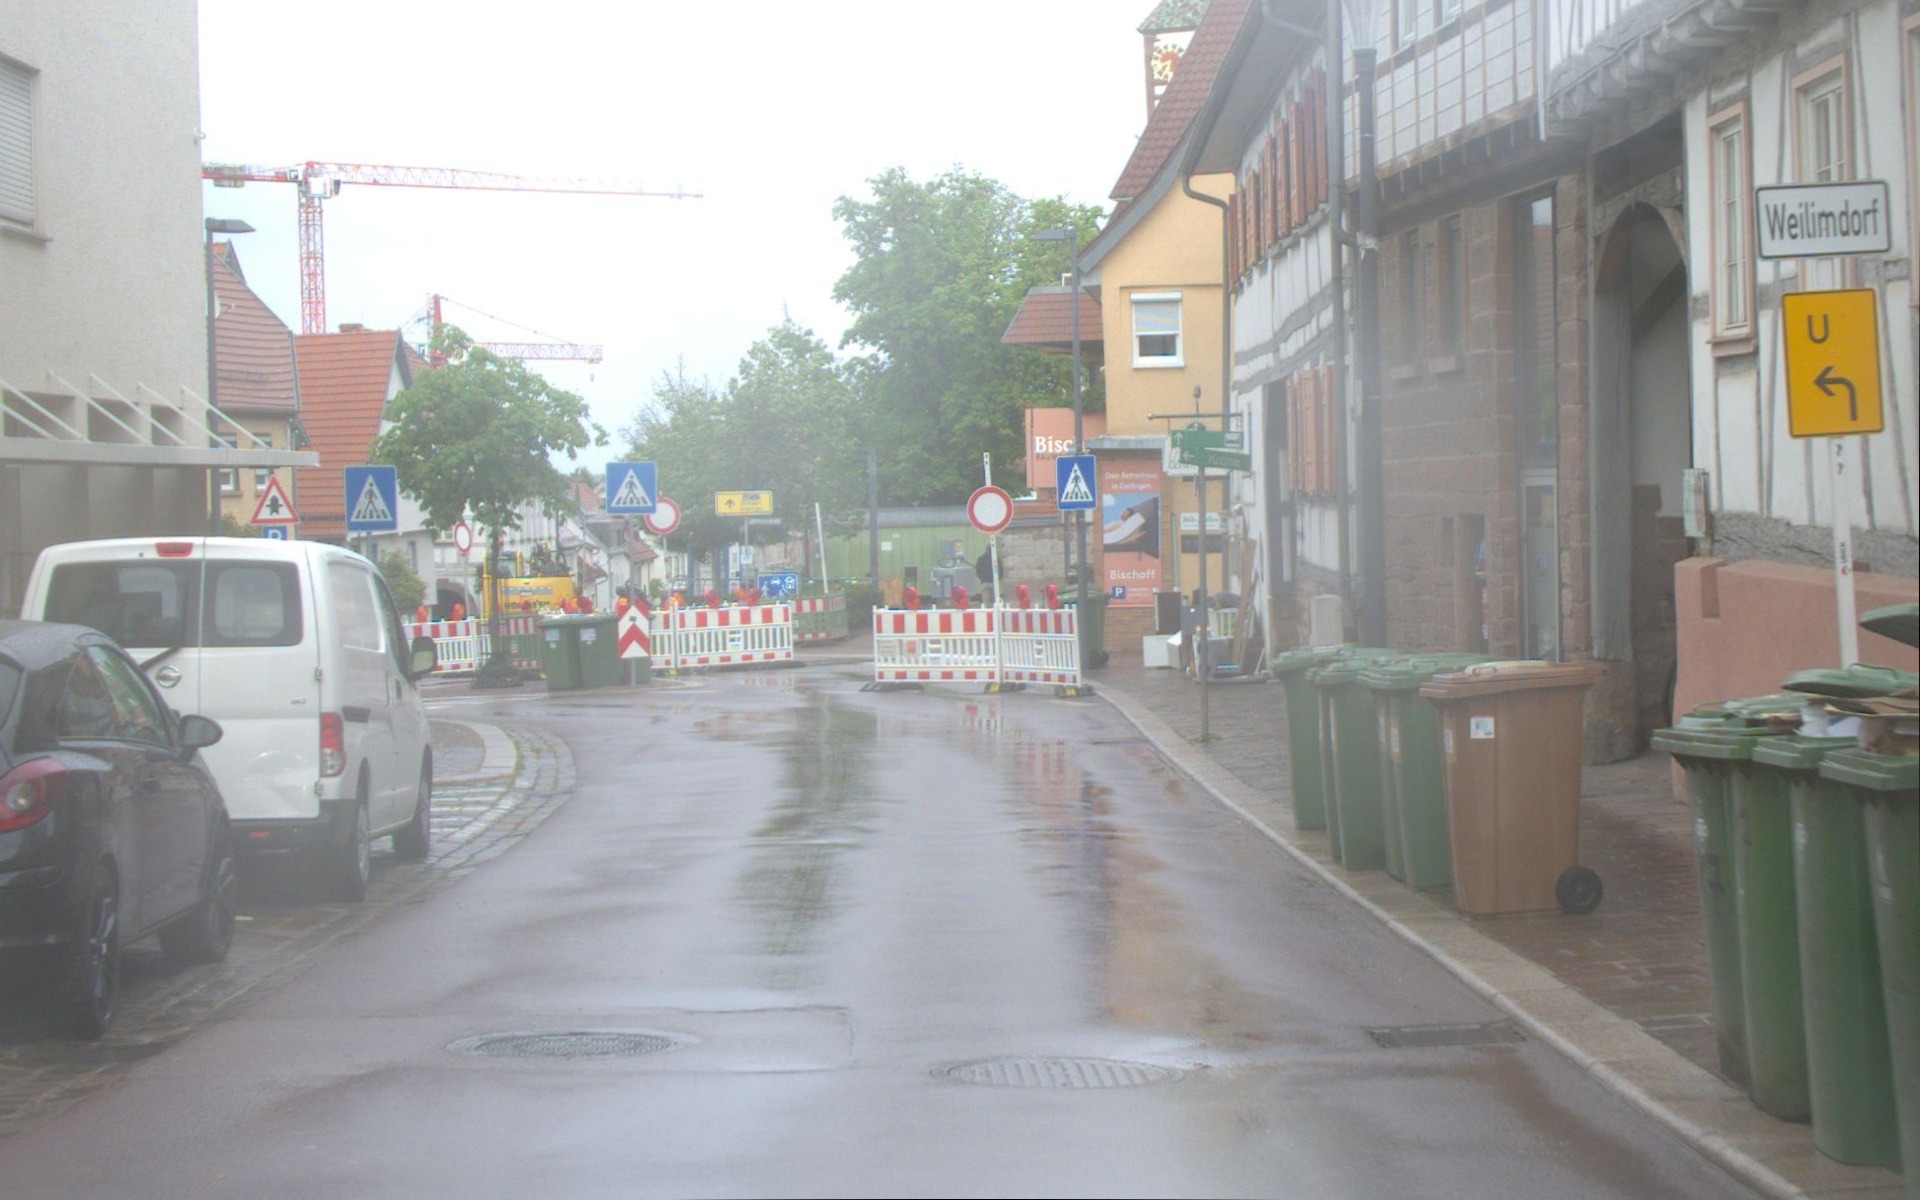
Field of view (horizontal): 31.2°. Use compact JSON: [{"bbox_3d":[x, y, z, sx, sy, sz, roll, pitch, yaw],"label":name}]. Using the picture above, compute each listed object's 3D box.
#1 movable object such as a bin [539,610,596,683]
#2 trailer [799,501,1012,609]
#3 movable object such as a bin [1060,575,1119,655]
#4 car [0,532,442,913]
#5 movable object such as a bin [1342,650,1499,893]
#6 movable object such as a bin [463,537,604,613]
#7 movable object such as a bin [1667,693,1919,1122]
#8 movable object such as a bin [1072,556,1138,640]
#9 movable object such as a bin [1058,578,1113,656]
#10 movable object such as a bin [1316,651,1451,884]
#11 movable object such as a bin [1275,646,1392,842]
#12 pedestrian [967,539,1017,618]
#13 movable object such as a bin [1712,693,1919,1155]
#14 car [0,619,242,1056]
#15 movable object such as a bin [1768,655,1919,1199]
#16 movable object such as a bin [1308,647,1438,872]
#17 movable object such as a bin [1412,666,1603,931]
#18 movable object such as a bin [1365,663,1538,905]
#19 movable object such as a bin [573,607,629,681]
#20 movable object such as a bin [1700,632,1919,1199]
[{"bbox_3d":[-5.674,0.672,49.743,0.541,1.033,0.571,-3,-1,33],"label":"movable object such as a bin"},{"bbox_3d":[-1.548,-1.265,96.414,5.780,2.937,2.000,-1,0,-5],"label":"trailer"},{"bbox_3d":[1.798,0.204,47.740,0.678,1.062,0.540,-3,1,-8],"label":"movable object such as a bin"},{"bbox_3d":[-3.938,0.583,18.836,1.723,1.819,4.429,-1,0,-3],"label":"car"},{"bbox_3d":[2.233,0.822,16.717,0.638,1.143,0.632,-1,0,-3],"label":"movable object such as a bin"},{"bbox_3d":[-11.717,-0.679,94.636,3.402,2.007,3.479,-1,0,1],"label":"movable object such as a bin"},{"bbox_3d":[2.322,0.835,9.543,0.616,1.127,0.632,-1,0,4],"label":"movable object such as a bin"},{"bbox_3d":[2.795,-0.046,66.018,1.065,1.507,1.242,-4,1,7],"label":"movable object such as a bin"},{"bbox_3d":[1.766,0.235,48.289,0.616,1.062,0.539,-3,0,16],"label":"movable object such as a bin"},{"bbox_3d":[2.134,0.837,17.382,0.638,1.143,0.603,-1,0,4],"label":"movable object such as a bin"},{"bbox_3d":[2.201,0.845,20.315,0.609,1.124,0.599,-1,0,-1],"label":"movable object such as a bin"},{"bbox_3d":[0.707,-0.481,76.570,0.990,1.753,0.852,-1,0,-7],"label":"pedestrian"},{"bbox_3d":[2.302,0.816,8.880,0.616,1.127,0.632,-1,0,5],"label":"movable object such as a bin"},{"bbox_3d":[-3.848,0.791,13.041,1.680,1.384,3.826,-1,0,-4],"label":"car"},{"bbox_3d":[2.084,0.766,7.248,0.638,1.286,0.632,-1,0,4],"label":"movable object such as a bin"},{"bbox_3d":[2.157,0.829,18.011,0.638,1.143,0.580,-1,0,4],"label":"movable object such as a bin"},{"bbox_3d":[2.344,0.839,14.771,0.678,1.093,0.650,0,0,-4],"label":"movable object such as a bin"},{"bbox_3d":[2.290,0.848,16.062,0.669,1.078,0.588,-2,0,-2],"label":"movable object such as a bin"},{"bbox_3d":[-5.159,0.629,49.424,0.544,1.029,0.533,-3,-1,33],"label":"movable object such as a bin"},{"bbox_3d":[2.119,0.725,8.102,0.638,1.286,0.632,-1,0,4],"label":"movable object such as a bin"}]
